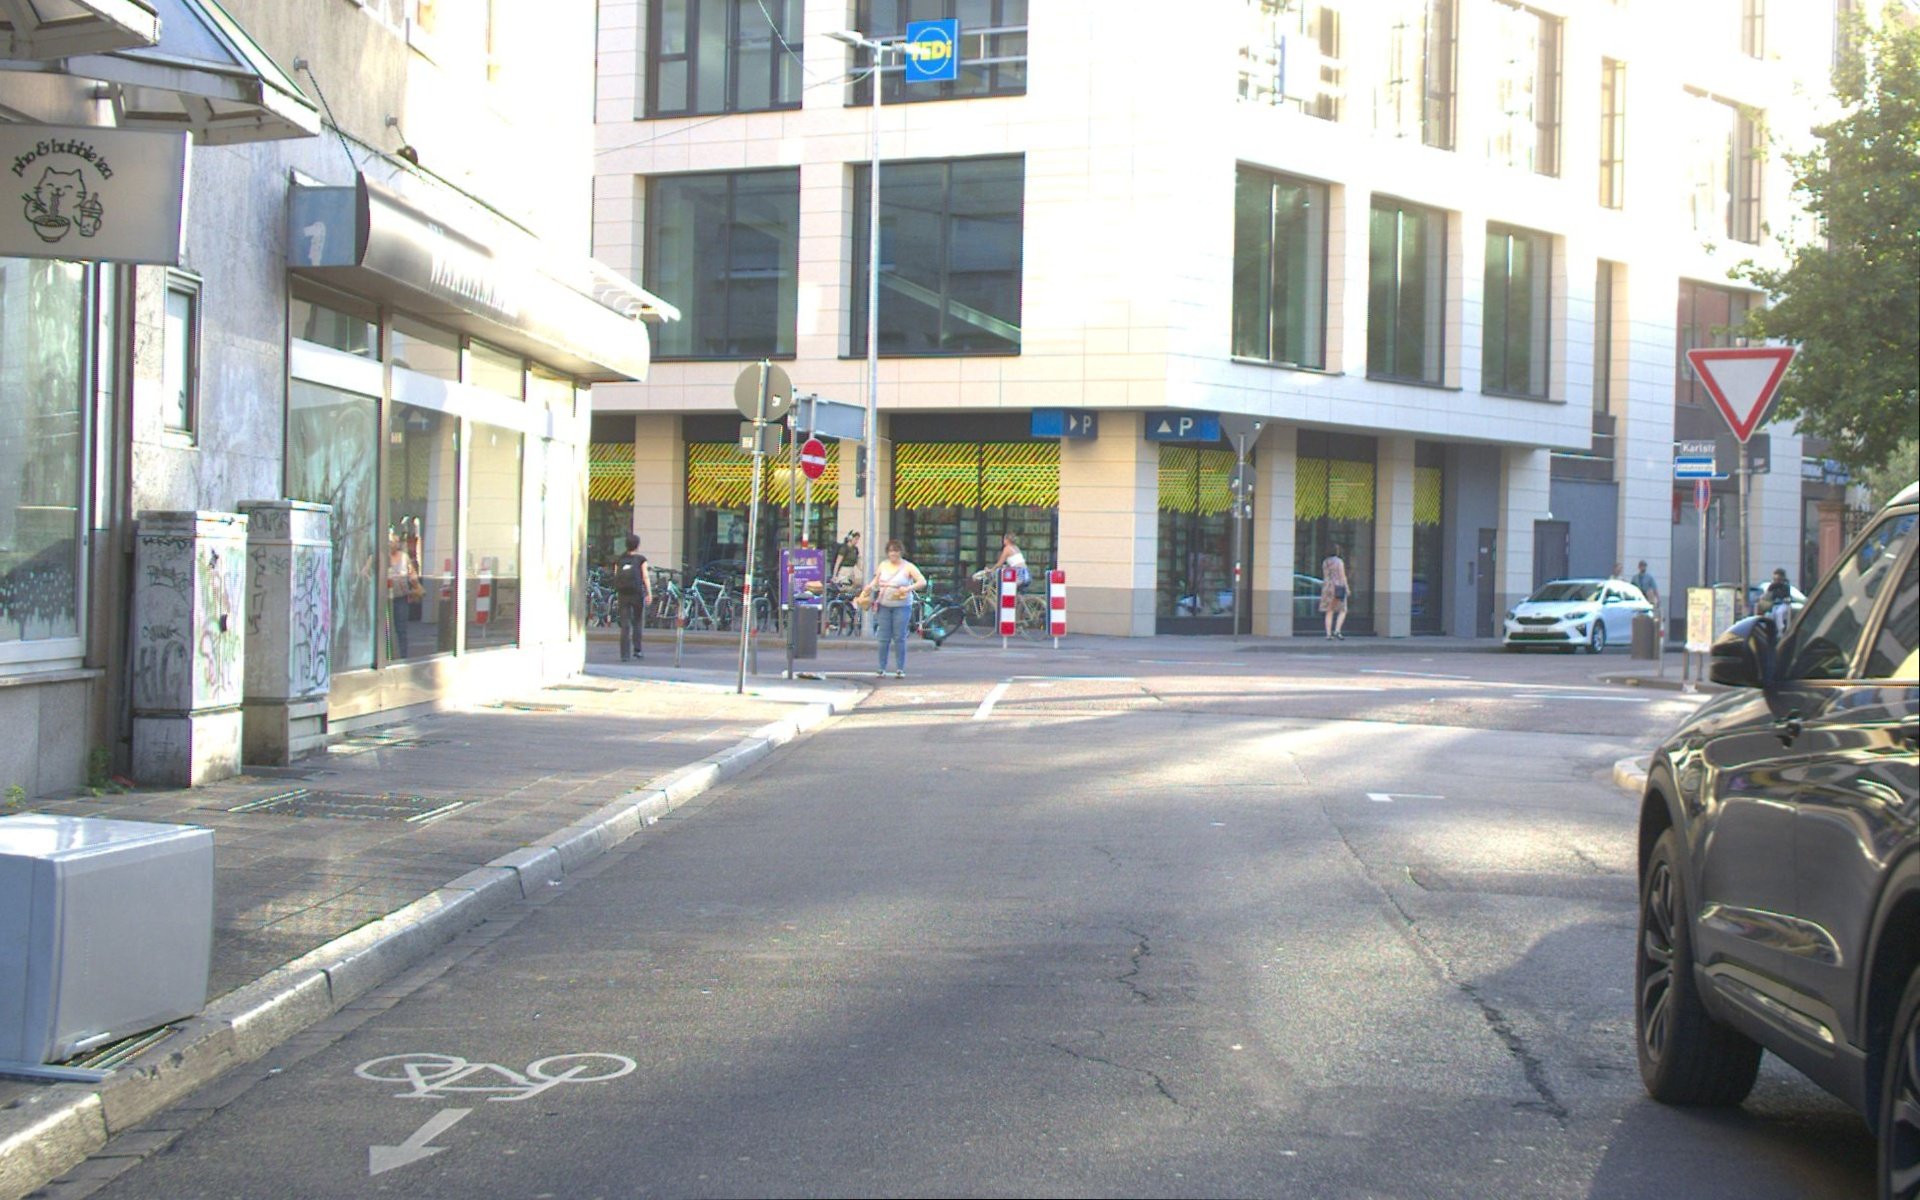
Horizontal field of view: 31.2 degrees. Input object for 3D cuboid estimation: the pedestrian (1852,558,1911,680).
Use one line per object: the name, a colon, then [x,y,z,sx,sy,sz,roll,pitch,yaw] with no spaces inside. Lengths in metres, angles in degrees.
pedestrian: [12.953,0.261,48.308,0.704,1.664,0.642,2,2,20]

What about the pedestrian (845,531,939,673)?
pedestrian: [-0.784,0.019,39.602,0.802,1.607,0.735,1,0,-27]

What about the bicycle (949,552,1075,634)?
bicycle: [0.840,-0.117,55.839,1.976,1.250,0.611,2,0,33]

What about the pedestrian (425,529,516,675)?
pedestrian: [-5.498,0.016,38.657,0.733,1.607,0.804,2,0,13]

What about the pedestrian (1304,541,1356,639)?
pedestrian: [6.674,-0.179,62.054,0.673,1.738,0.646,2,0,34]

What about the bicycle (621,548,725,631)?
bicycle: [-4.508,-0.153,54.104,0.512,1.250,1.975,2,0,32]

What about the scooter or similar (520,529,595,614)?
scooter or similar: [-6.127,-0.433,52.347,0.387,1.256,1.268,2,0,32]

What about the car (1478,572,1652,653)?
car: [11.560,0.228,65.473,1.781,1.448,4.223,2,1,32]

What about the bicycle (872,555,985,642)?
bicycle: [-0.456,-0.007,51.555,0.665,1.250,2.137,2,0,30]

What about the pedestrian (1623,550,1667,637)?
pedestrian: [14.524,-0.142,72.864,0.673,1.830,0.646,2,1,31]

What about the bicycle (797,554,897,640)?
bicycle: [-1.708,-0.037,52.202,0.512,1.250,1.975,2,0,30]

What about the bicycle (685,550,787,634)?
bicycle: [-3.478,-0.116,53.454,0.512,1.250,1.975,2,0,31]

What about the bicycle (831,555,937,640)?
bicycle: [-1.137,-0.028,51.912,0.582,1.250,2.041,2,0,30]

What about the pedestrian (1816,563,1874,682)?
pedestrian: [12.679,0.315,49.262,0.704,1.664,0.642,2,2,20]

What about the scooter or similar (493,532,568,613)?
scooter or similar: [-6.585,-0.417,52.719,0.387,1.208,1.268,2,0,32]

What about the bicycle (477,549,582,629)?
bicycle: [-6.968,-0.174,55.728,0.512,1.250,1.975,2,0,32]

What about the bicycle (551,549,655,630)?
bicycle: [-5.694,-0.163,54.997,0.512,1.250,1.975,2,0,32]

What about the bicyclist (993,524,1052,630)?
bicyclist: [1.014,-0.368,55.640,0.643,1.689,0.683,2,1,34]

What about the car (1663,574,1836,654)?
car: [16.789,0.293,72.999,1.887,1.592,4.679,2,1,36]

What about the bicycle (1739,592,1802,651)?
bicycle: [16.148,0.436,68.480,0.665,1.134,1.818,2,0,31]

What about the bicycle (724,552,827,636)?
bicycle: [-2.832,-0.088,53.004,0.512,1.250,1.975,2,0,32]

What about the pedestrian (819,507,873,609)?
pedestrian: [-1.965,-0.728,59.064,0.635,1.717,0.845,1,1,-22]

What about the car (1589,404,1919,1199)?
car: [2.835,0.522,7.654,1.993,1.777,4.934,2,1,1]

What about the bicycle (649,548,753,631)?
bicycle: [-4.044,-0.161,53.768,0.512,1.250,1.975,2,0,32]

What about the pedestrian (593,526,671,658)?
pedestrian: [-4.196,-0.107,43.978,0.869,1.652,0.619,2,0,-14]

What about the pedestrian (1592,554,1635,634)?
pedestrian: [13.914,-0.124,73.222,0.673,1.669,0.646,2,1,31]

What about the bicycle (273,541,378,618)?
bicycle: [-10.719,-0.346,58.167,0.512,1.250,1.975,2,0,32]

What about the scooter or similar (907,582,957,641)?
scooter or similar: [-0.429,0.179,53.164,0.387,0.881,0.768,2,0,32]

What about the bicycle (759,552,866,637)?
bicycle: [-2.244,-0.074,52.520,0.513,1.250,1.975,2,0,34]

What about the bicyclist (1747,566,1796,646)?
bicyclist: [16.154,0.117,68.434,0.659,1.565,0.862,2,0,30]

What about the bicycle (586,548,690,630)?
bicycle: [-5.095,-0.164,54.515,0.512,1.250,1.975,2,0,32]

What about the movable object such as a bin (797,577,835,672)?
movable object such as a bin: [-1.624,0.271,38.751,0.359,1.060,0.356,1,0,-8]
